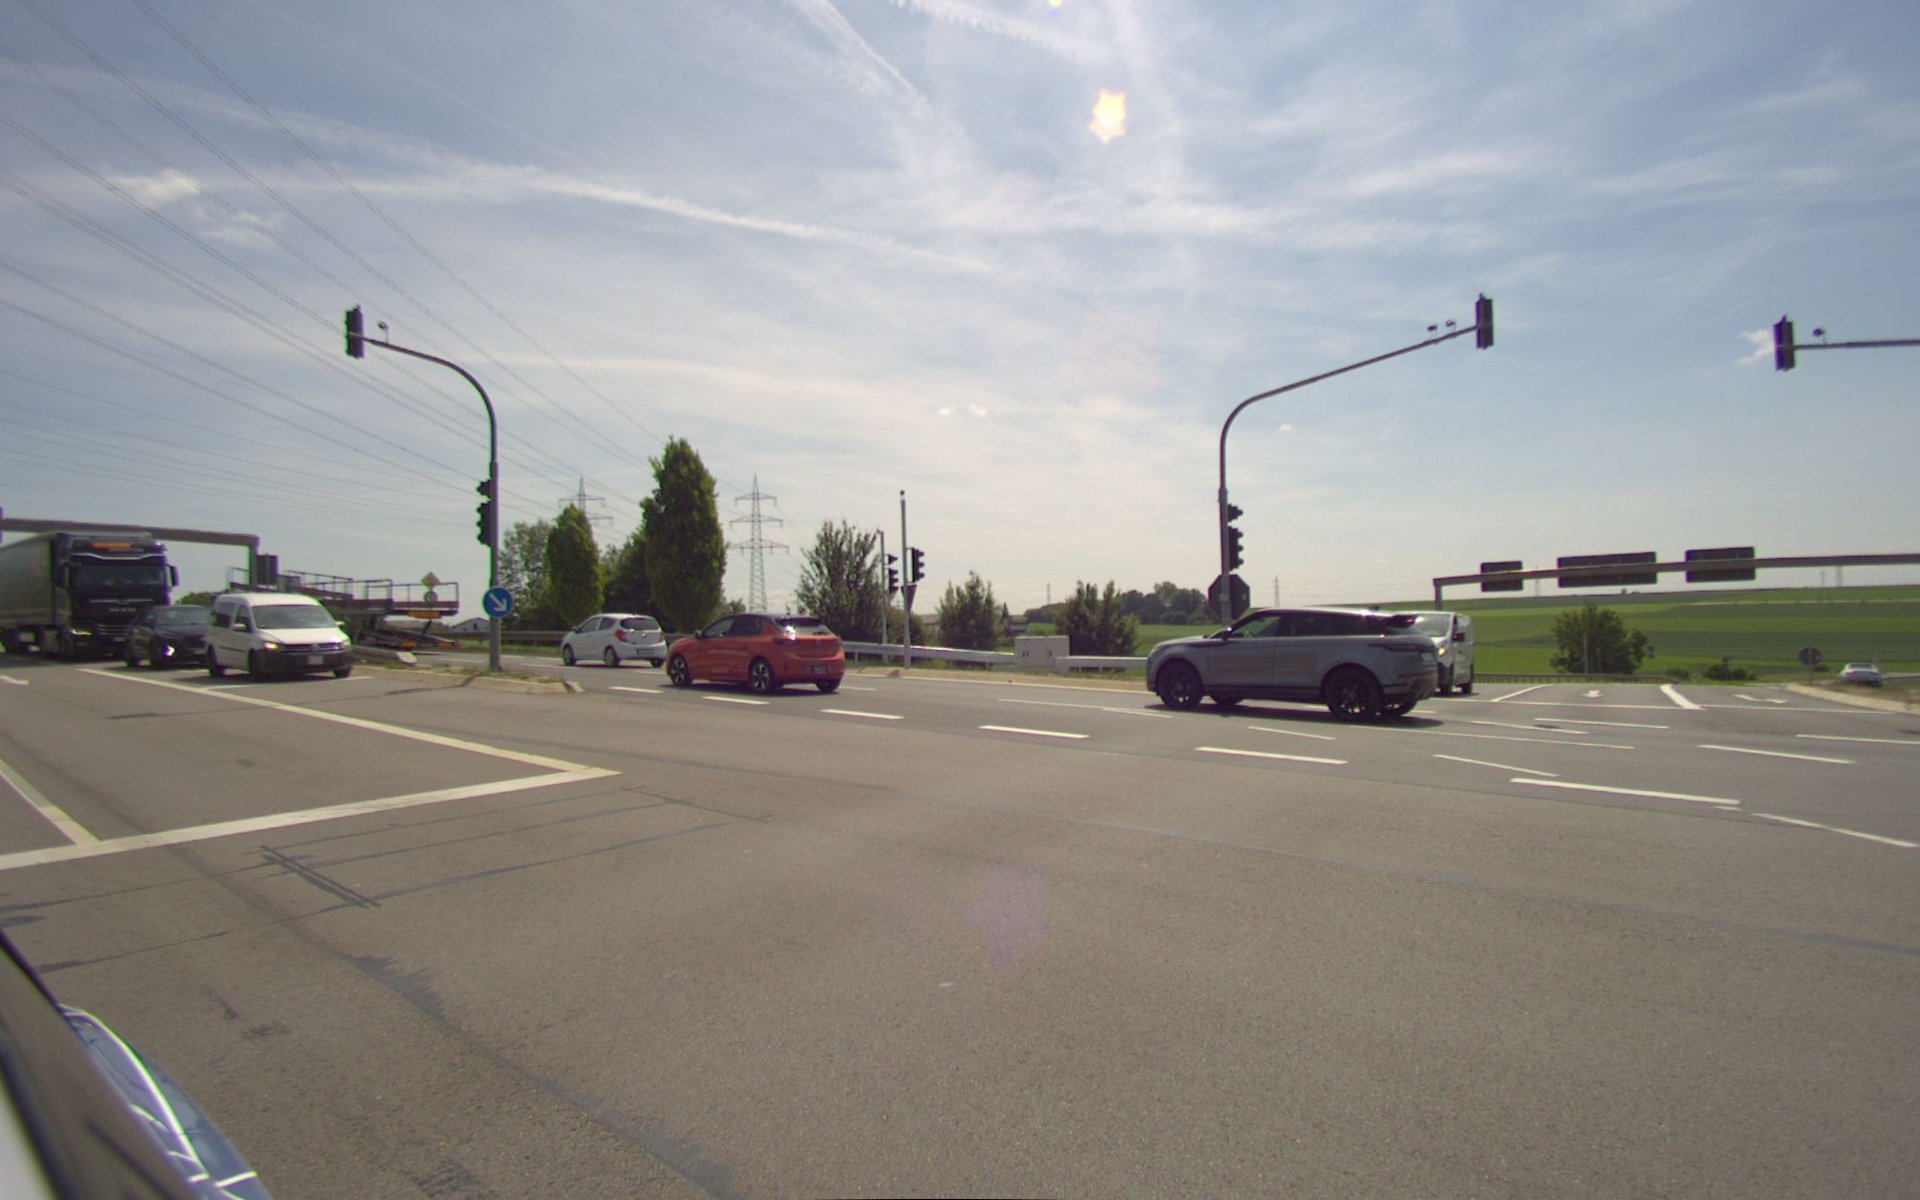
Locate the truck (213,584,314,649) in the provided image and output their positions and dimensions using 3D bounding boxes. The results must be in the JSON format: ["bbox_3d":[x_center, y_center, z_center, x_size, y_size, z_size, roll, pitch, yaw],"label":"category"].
[{"bbox_3d":[-34.712,0.785,50.342,5.987,3.036,2.770,0,-1,41],"label":"truck"}]

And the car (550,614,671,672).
[{"bbox_3d":[-9.927,1.167,28.651,3.801,1.508,1.626,0,-2,43],"label":"car"}]

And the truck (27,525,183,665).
[{"bbox_3d":[-27.312,-0.125,32.253,5.966,4.043,2.755,-1,0,40],"label":"truck"}]

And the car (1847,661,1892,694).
[{"bbox_3d":[52.256,4.417,58.200,1.631,1.471,4.436,0,1,38],"label":"car"}]

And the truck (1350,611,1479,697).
[{"bbox_3d":[10.810,1.230,23.837,1.994,1.770,5.222,0,-2,33],"label":"truck"}]

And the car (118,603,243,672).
[{"bbox_3d":[-20.859,0.949,27.023,4.346,1.670,1.837,-1,0,41],"label":"car"}]

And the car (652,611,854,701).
[{"bbox_3d":[-3.952,0.989,18.954,4.066,1.508,1.626,-1,-3,43],"label":"car"}]

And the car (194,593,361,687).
[{"bbox_3d":[-14.902,0.809,21.994,4.748,1.812,1.750,-1,0,40],"label":"car"}]

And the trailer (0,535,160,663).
[{"bbox_3d":[-32.516,0.013,36.648,13.775,3.943,2.755,-1,0,40],"label":"trailer"}]

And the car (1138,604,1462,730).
[{"bbox_3d":[4.984,0.904,15.209,4.327,1.636,1.627,0,-2,42],"label":"car"}]

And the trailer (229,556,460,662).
[{"bbox_3d":[-27.304,0.354,43.864,19.787,3.792,2.612,0,-1,41],"label":"trailer"}]
